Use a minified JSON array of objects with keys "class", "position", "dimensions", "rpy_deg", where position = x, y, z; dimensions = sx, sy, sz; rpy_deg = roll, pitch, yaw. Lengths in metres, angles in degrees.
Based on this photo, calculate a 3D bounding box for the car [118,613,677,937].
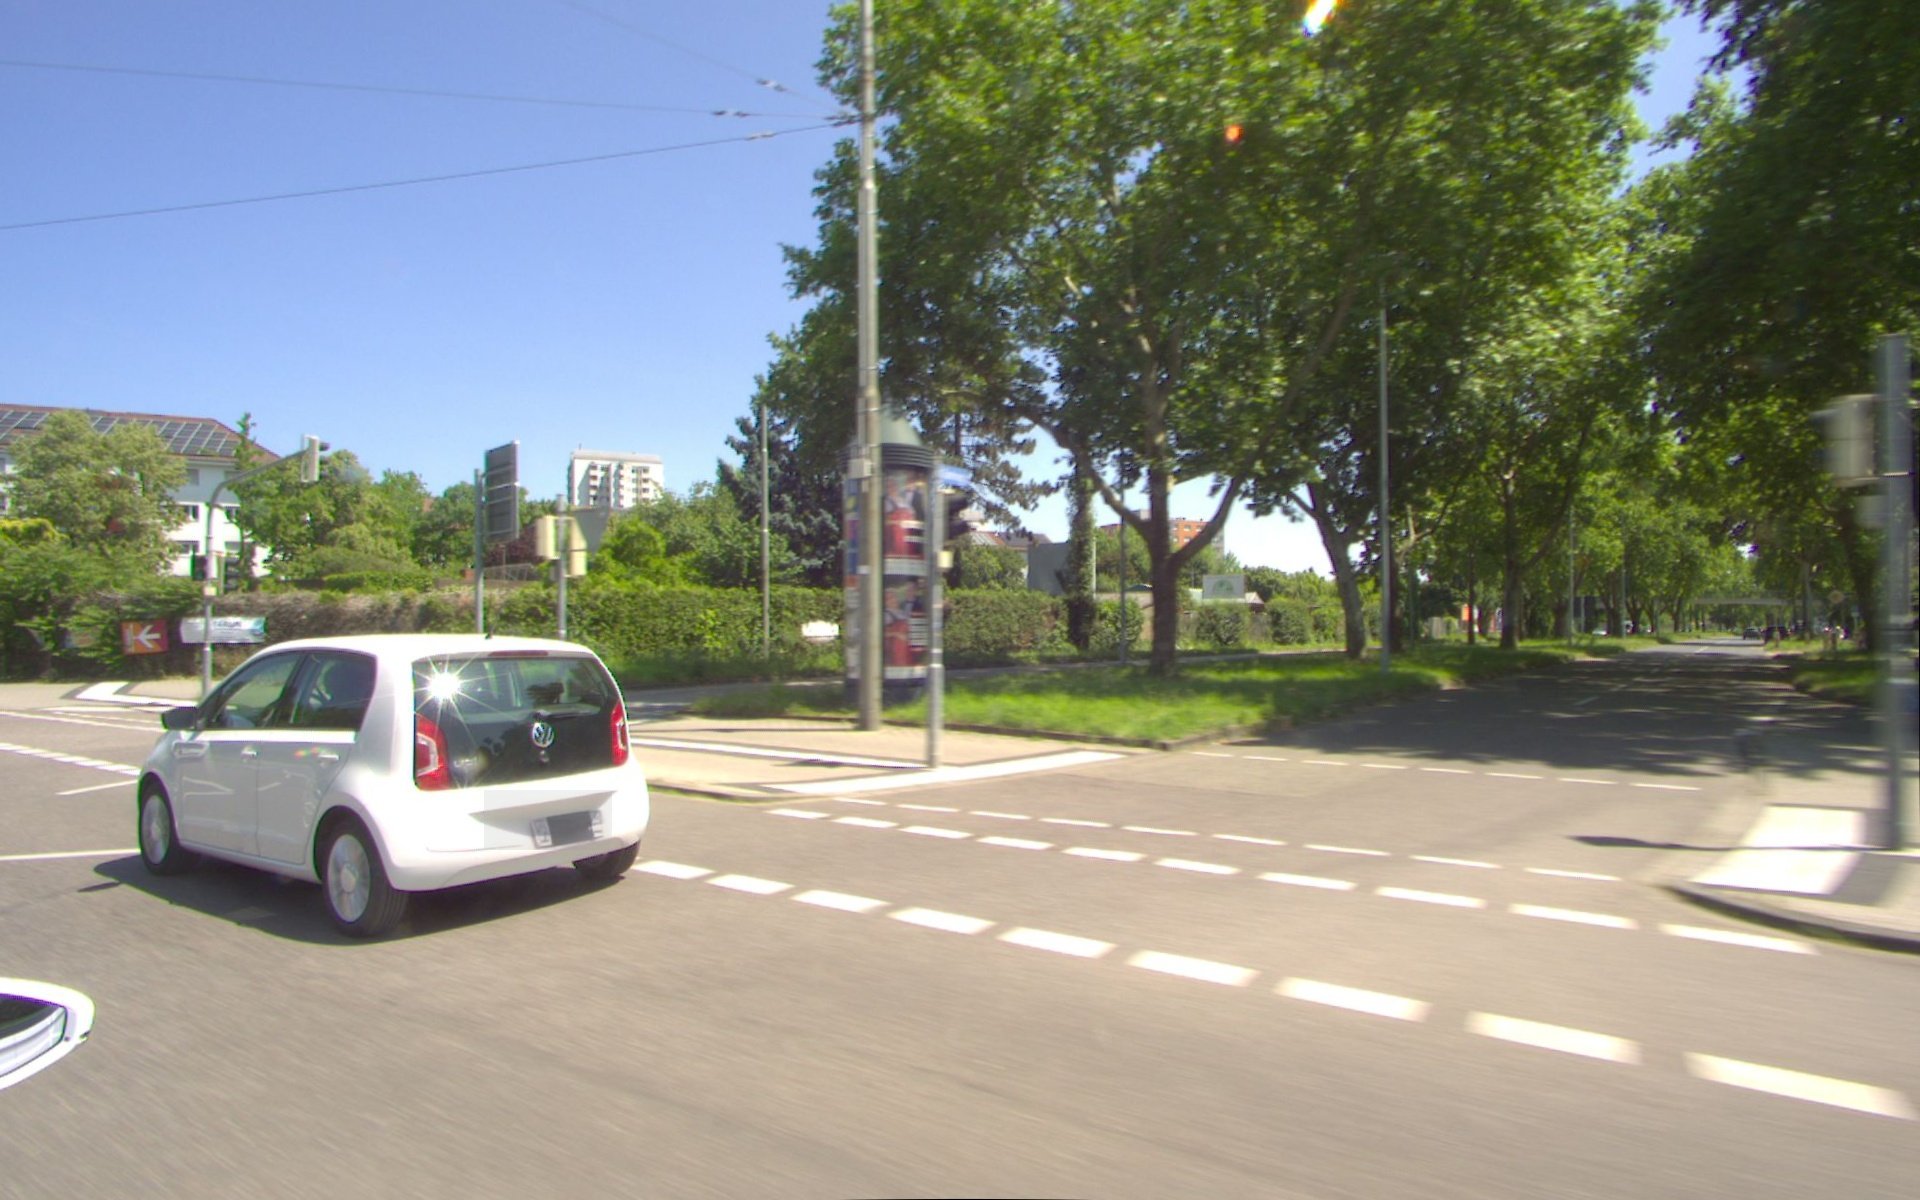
[{"class":"car","position":[-3.536,0.847,6.173],"dimensions":[3.387,1.465,1.607],"rpy_deg":[0,-3,33]}]

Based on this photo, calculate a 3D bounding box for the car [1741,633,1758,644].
[{"class":"car","position":[104.355,5.132,132.333],"dimensions":[1.476,1.464,3.323],"rpy_deg":[-2,-3,44]}]

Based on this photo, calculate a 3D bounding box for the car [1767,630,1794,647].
[{"class":"car","position":[75.164,3.529,91.701],"dimensions":[1.690,1.463,3.356],"rpy_deg":[-2,-4,44]}]
